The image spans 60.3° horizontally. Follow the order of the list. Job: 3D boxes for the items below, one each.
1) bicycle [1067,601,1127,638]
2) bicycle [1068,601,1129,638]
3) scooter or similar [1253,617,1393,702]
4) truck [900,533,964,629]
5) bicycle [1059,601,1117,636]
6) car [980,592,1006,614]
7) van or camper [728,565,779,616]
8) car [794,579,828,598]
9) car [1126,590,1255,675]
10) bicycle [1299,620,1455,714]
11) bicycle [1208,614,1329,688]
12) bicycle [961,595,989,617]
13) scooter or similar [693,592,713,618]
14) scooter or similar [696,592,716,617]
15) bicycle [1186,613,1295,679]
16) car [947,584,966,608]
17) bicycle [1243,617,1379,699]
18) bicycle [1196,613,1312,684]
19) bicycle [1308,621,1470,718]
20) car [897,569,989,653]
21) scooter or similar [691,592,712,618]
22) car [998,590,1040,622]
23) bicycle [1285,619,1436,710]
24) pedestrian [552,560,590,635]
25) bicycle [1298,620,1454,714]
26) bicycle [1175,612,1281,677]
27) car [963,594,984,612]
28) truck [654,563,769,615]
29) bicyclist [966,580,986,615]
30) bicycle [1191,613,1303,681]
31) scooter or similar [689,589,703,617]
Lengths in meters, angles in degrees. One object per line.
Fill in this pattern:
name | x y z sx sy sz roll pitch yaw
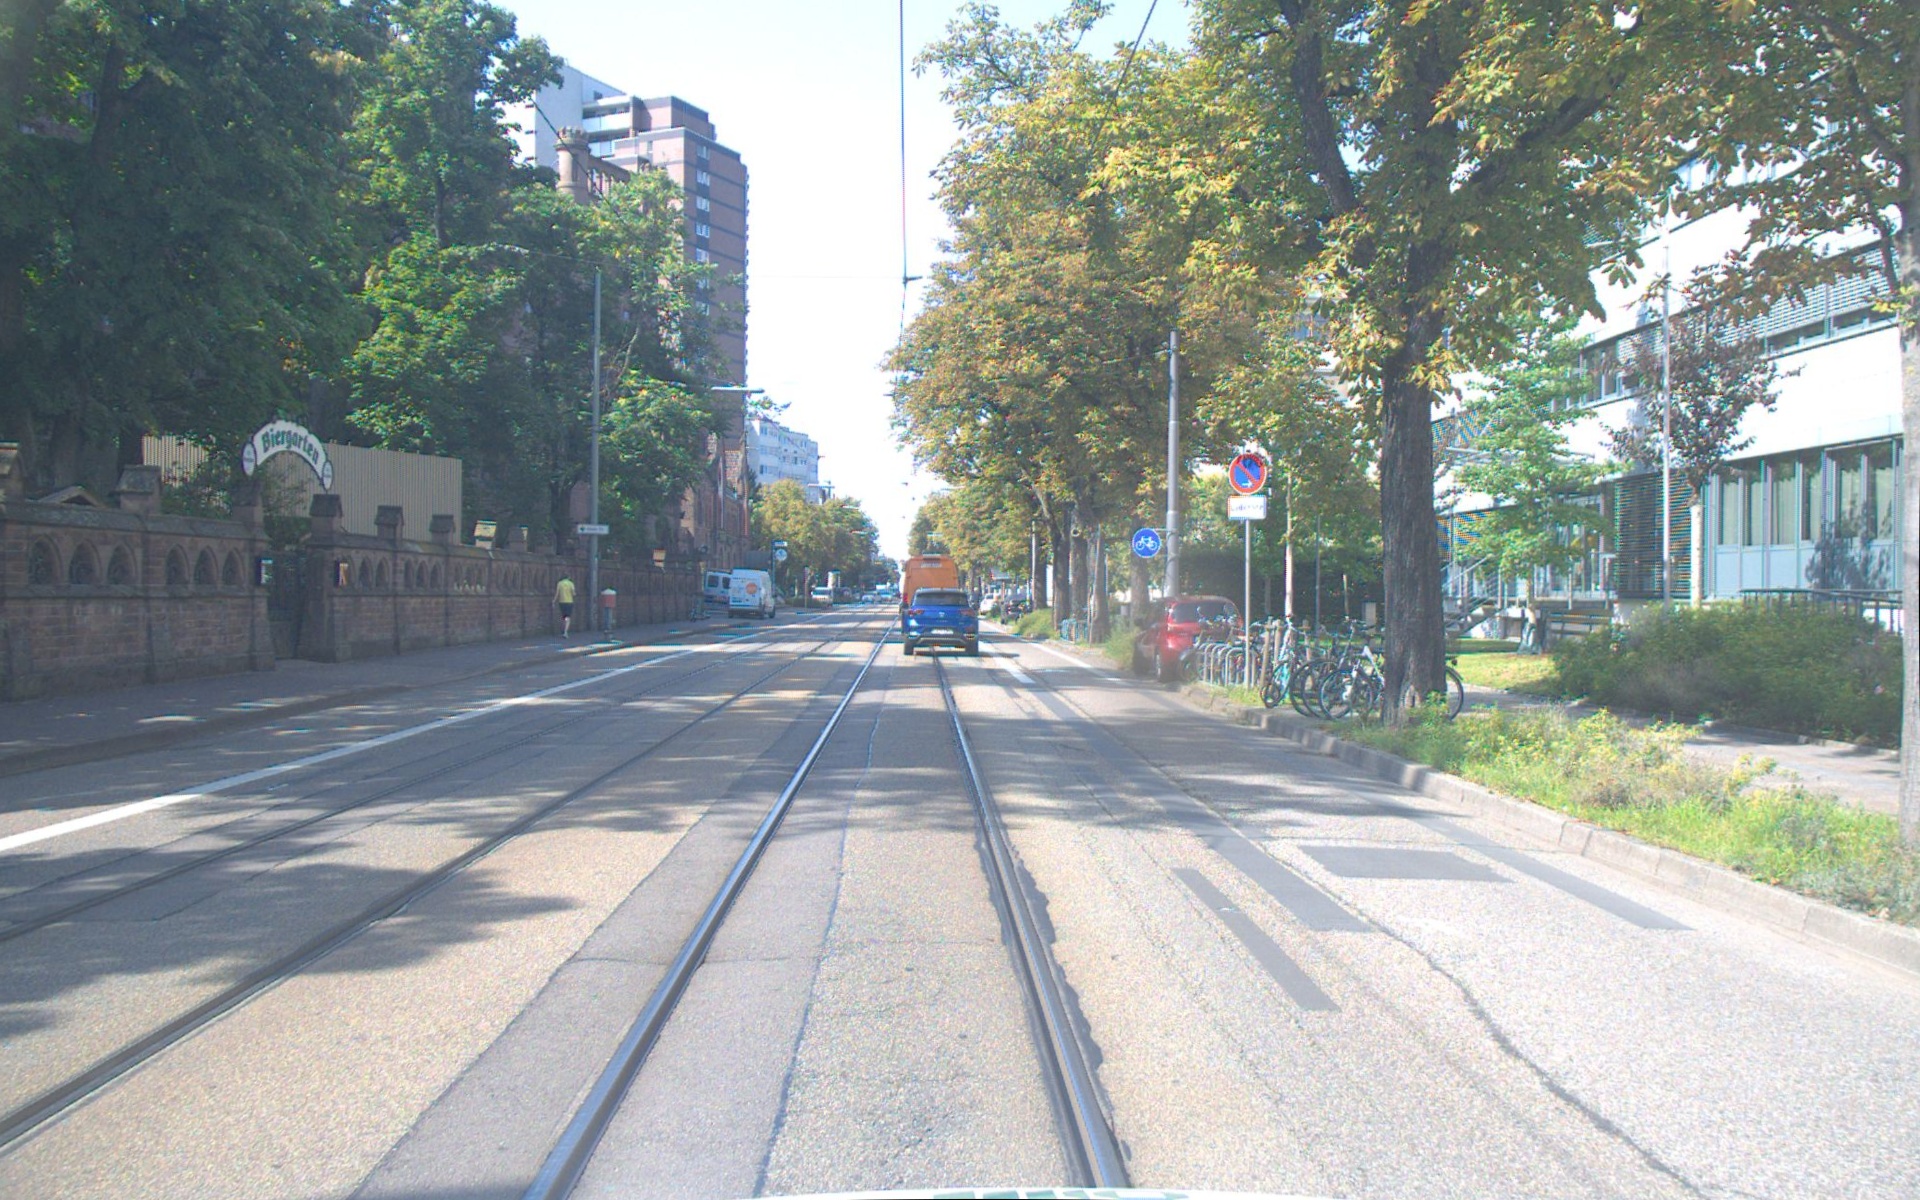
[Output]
bicycle | 4.108 0.584 49.540 1.736 1.068 0.540 0 0 -3
bicycle | 4.084 0.586 48.861 1.736 1.068 0.540 0 0 -3
scooter or similar | 4.837 0.785 22.082 1.736 1.090 0.540 0 0 -3
truck | -1.003 -0.641 57.746 2.092 3.179 6.083 0 0 -1
bicycle | 4.022 0.575 52.017 1.736 1.068 0.540 0 0 -3
car | 2.268 0.211 113.994 1.625 1.507 4.216 0 0 -1
van or camper | -11.444 -0.527 91.962 2.069 2.722 5.954 1 0 0
car | -14.523 -1.153 161.285 1.731 1.828 3.955 1 0 -33
car | 4.280 0.560 31.293 1.720 1.487 4.273 0 0 -2
bicycle | 4.997 0.794 19.876 1.736 1.090 0.540 0 0 -3
bicycle | 4.706 0.774 25.249 1.736 1.090 0.540 0 0 -3
bicycle | 0.787 0.310 88.250 1.373 1.154 3.999 1 0 -2
scooter or similar | -12.010 0.213 77.246 0.332 1.199 1.177 1 0 23
scooter or similar | -12.025 0.209 78.380 0.332 1.199 1.177 1 0 23
bicycle | 4.711 0.767 27.837 1.736 1.090 0.540 0 0 -3
car | -0.426 -0.458 198.165 1.954 2.804 5.758 1 0 -3
bicycle | 4.801 0.783 22.669 1.736 1.090 0.540 0 0 -3
bicycle | 4.676 0.770 26.350 1.736 1.090 0.540 0 0 -3
bicycle | 4.960 0.796 19.156 1.736 1.090 0.540 0 0 -3
car | -0.450 0.245 40.389 2.092 1.891 5.566 0 0 -1
scooter or similar | -11.891 0.218 76.078 0.332 1.199 1.177 1 0 23
car | 2.941 0.293 83.128 1.721 1.542 4.607 -1 0 -3
bicycle | 4.939 0.792 20.452 1.736 1.090 0.540 0 0 -3
pedestrian | -10.724 -0.065 45.616 0.847 2.049 0.983 1 0 -4
bicycle | 4.987 0.794 19.853 1.736 1.090 0.540 0 0 -3
bicycle | 4.629 0.763 28.609 1.736 1.090 0.540 0 0 -3
car | 1.125 0.267 143.896 1.707 1.583 4.216 0 0 -1
truck | -14.493 -0.682 96.714 6.189 2.582 2.132 4 1 3
bicyclist | 0.828 -0.119 88.251 1.011 1.844 1.016 1 0 -2
bicycle | 4.703 0.769 27.162 1.736 1.090 0.540 0 0 -3
scooter or similar | -11.448 0.146 71.790 0.414 1.199 1.310 1 0 -17
